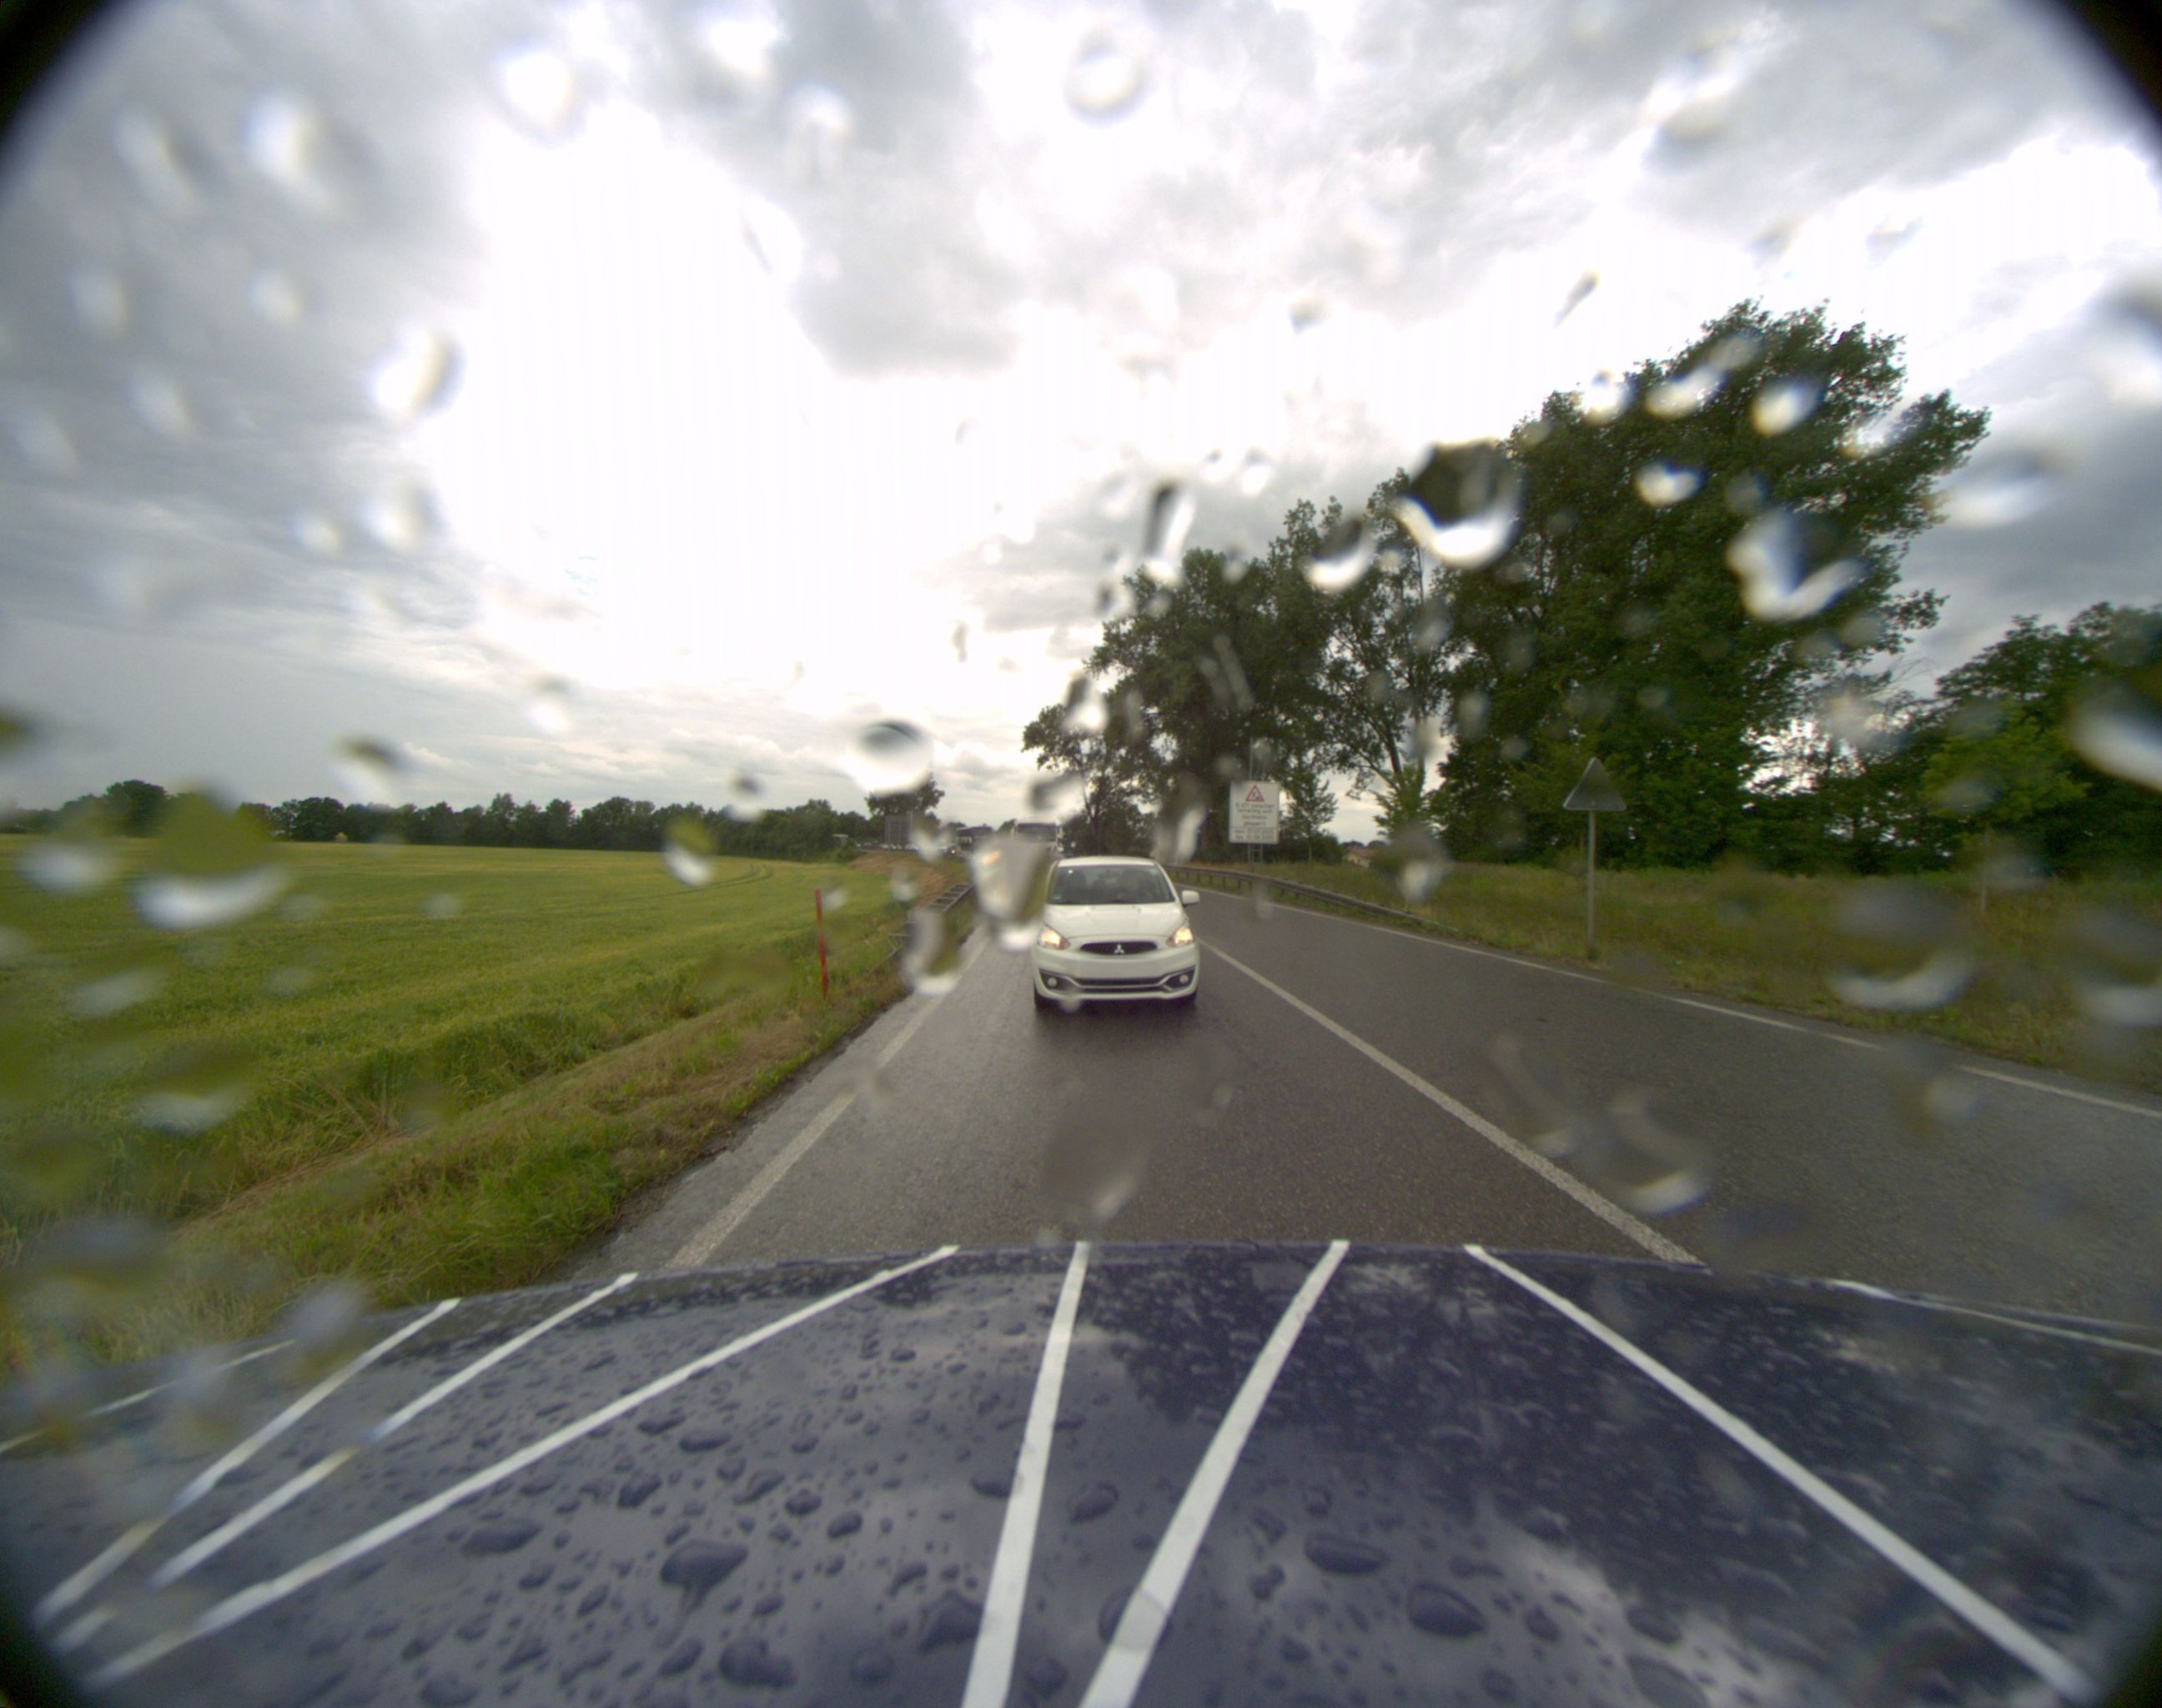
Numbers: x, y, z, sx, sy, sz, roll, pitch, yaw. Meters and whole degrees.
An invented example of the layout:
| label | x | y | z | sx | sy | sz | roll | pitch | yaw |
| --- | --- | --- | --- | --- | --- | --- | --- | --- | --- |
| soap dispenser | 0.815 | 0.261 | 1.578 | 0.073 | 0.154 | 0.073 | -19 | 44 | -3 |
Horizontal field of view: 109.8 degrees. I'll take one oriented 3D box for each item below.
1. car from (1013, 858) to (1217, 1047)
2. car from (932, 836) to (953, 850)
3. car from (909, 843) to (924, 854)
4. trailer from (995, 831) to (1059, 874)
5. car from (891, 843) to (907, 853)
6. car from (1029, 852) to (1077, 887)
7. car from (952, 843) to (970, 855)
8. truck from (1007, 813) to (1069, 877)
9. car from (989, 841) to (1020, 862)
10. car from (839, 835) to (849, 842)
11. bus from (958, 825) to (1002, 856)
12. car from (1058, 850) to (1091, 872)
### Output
| label | x | y | z | sx | sy | sz | roll | pitch | yaw |
| --- | --- | --- | --- | --- | --- | --- | --- | --- | --- |
| car | 0.286 | 0.826 | 8.299 | 1.653 | 1.461 | 4.029 | -2 | 1 | 0 |
| car | -21.814 | -1.745 | 119.468 | 2.002 | 2.002 | 5.325 | -2 | 2 | -23 |
| car | -31.484 | -1.140 | 145.466 | 2.002 | 2.002 | 4.224 | -2 | 2 | -21 |
| trailer | -4.164 | -0.246 | 54.589 | 2.986 | 2.618 | 15.664 | -2 | 1 | -10 |
| car | -38.050 | -1.228 | 158.768 | 2.003 | 2.002 | 4.255 | -2 | 2 | -29 |
| car | -1.352 | 0.656 | 34.848 | 1.782 | 1.380 | 4.324 | -2 | 1 | -7 |
| car | -16.555 | -0.695 | 104.407 | 1.816 | 1.569 | 3.993 | -2 | 2 | -18 |
| truck | -2.744 | -0.568 | 46.160 | 2.986 | 3.590 | 6.074 | -2 | 2 | -10 |
| car | -7.160 | -0.248 | 70.451 | 2.044 | 1.832 | 5.328 | -2 | 1 | -14 |
| car | -66.324 | -4.395 | 212.413 | 1.785 | 1.918 | 4.168 | -2 | 2 | -28 |
| bus | -12.064 | -1.704 | 89.379 | 2.967 | 3.294 | 14.812 | -2 | 2 | -16 |
| car | -0.542 | 0.448 | 54.615 | 1.635 | 1.389 | 4.315 | -2 | 1 | -10 |
